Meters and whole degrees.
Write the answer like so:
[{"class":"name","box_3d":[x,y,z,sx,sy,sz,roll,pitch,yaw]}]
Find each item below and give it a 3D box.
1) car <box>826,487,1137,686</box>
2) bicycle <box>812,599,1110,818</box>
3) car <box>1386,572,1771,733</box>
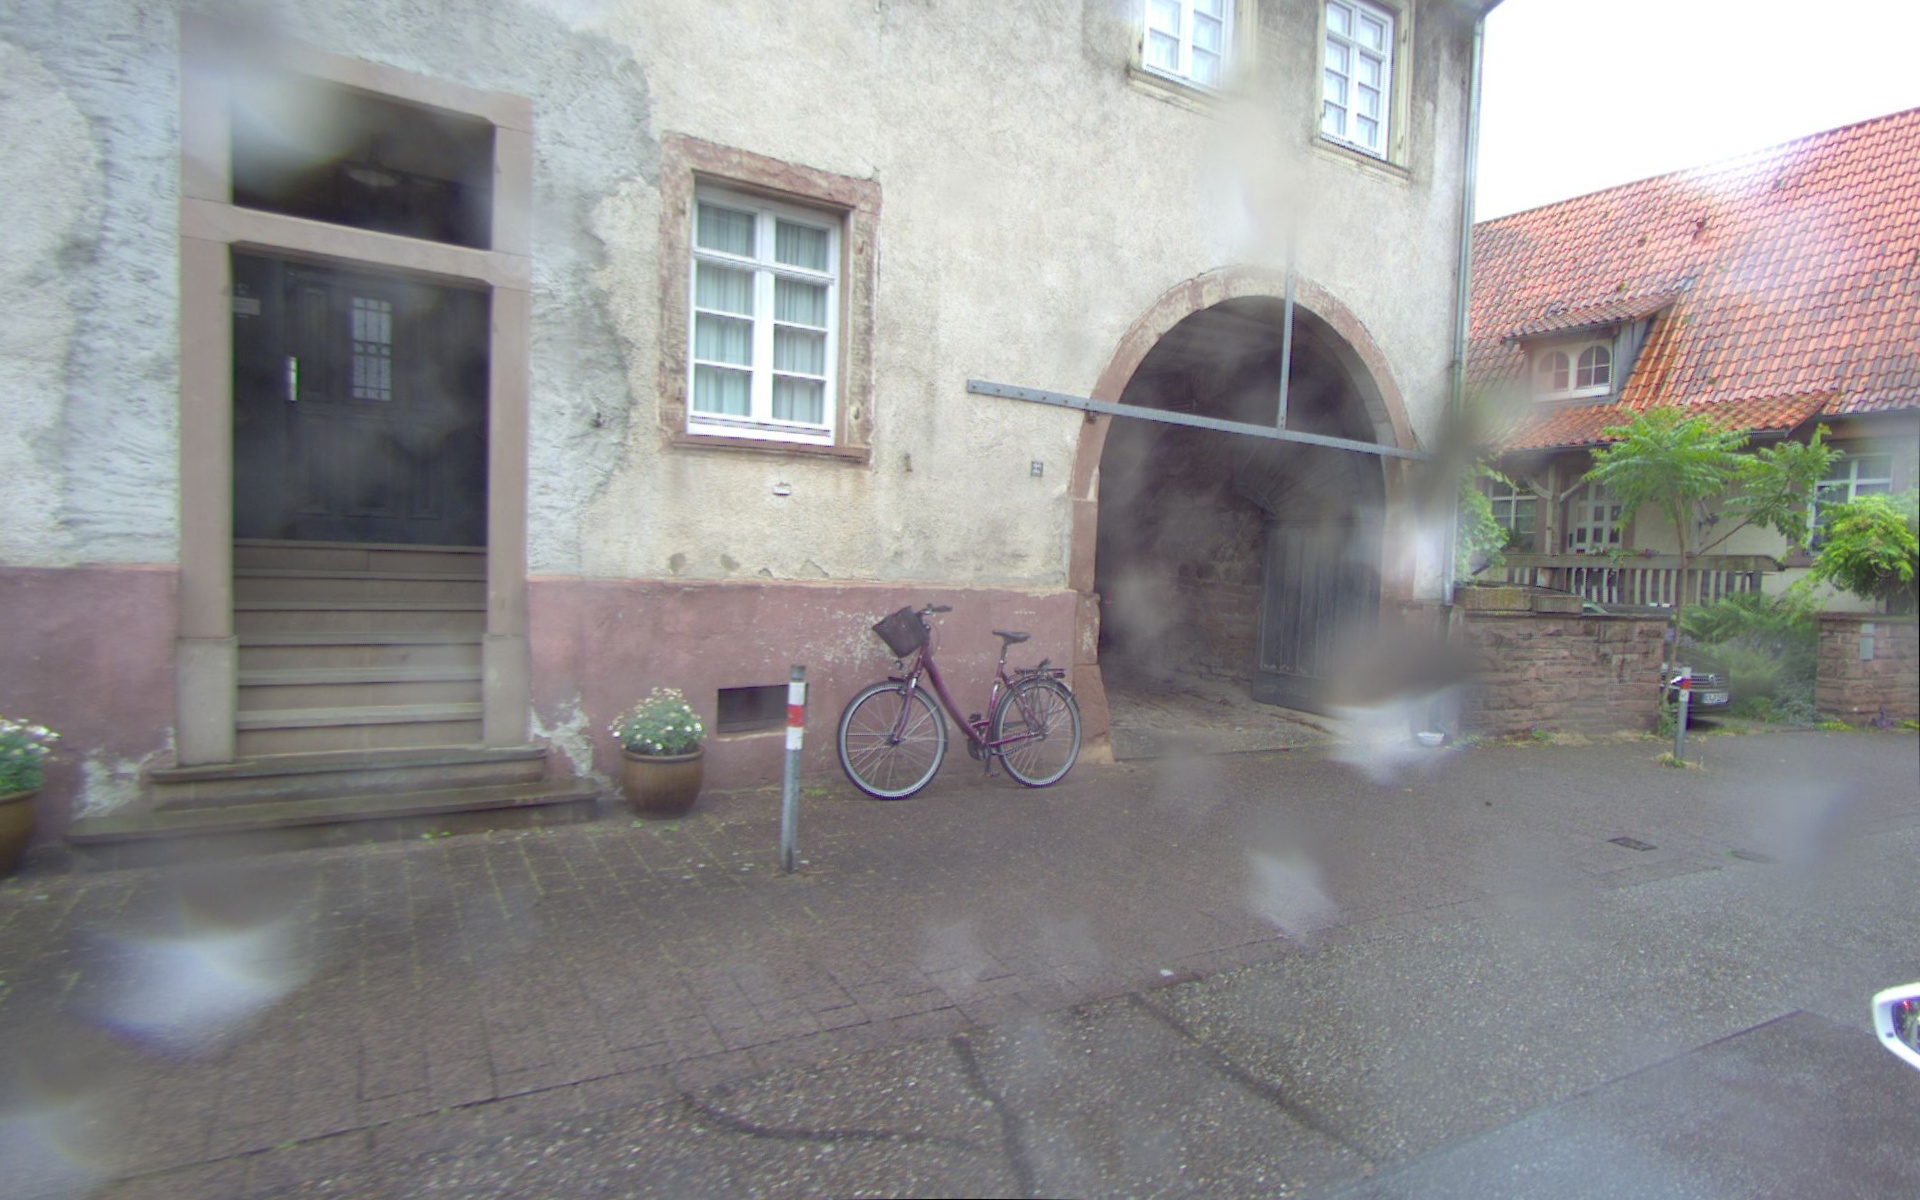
[{"class":"car","box_3d":[0.049,-0.316,12.533,1.864,1.959,4.203,1,6,-31]},{"class":"bicycle","box_3d":[0.046,0.614,6.285,1.853,1.194,0.479,1,4,-32]},{"class":"car","box_3d":[7.896,0.563,13.305,1.712,1.445,3.976,2,6,-24]}]
